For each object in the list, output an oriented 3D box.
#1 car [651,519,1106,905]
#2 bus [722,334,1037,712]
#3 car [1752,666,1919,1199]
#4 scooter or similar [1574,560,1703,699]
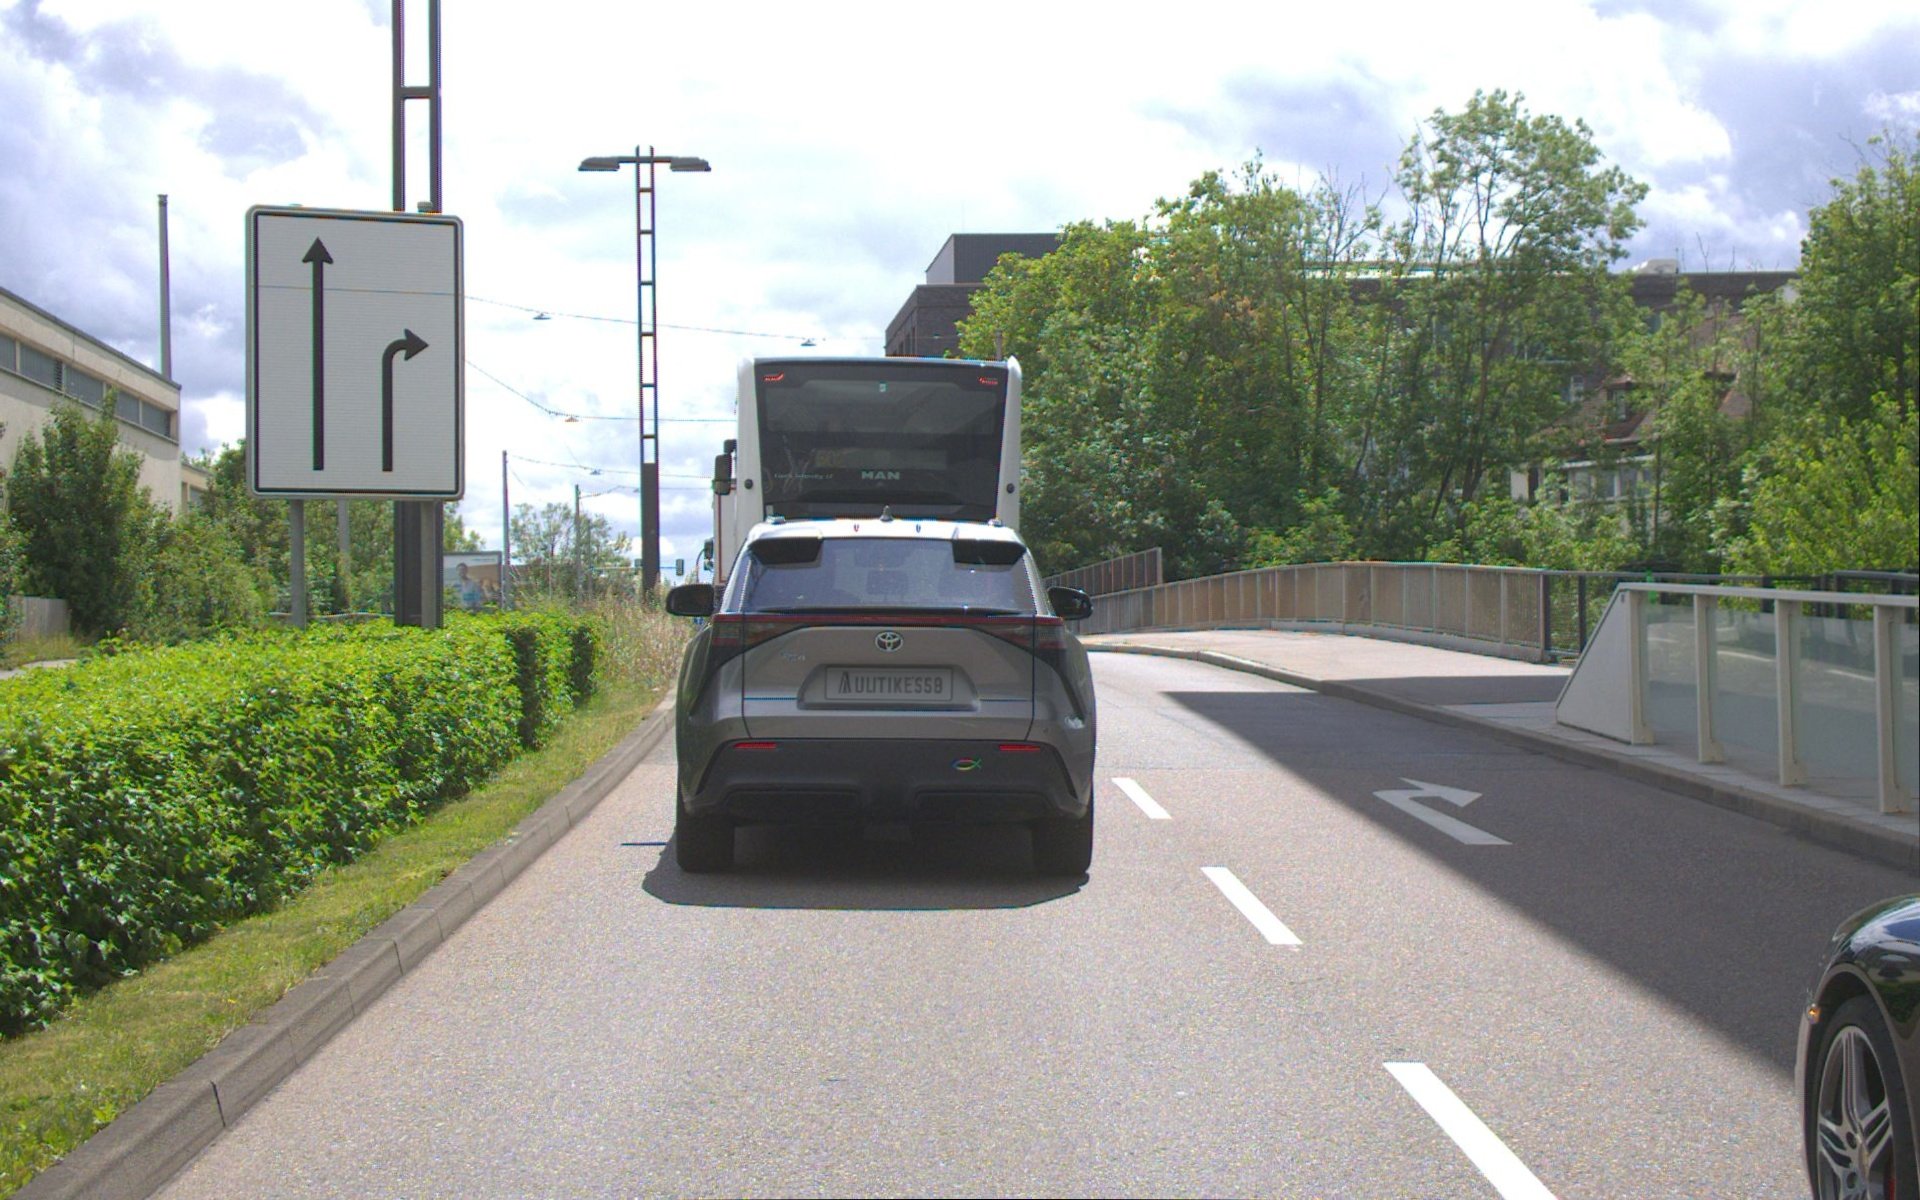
[{"bbox_3d":[-0.398,0.448,16.432,1.879,1.588,4.230,1,1,-2],"label":"car"},{"bbox_3d":[-0.815,-0.850,35.903,2.689,3.244,12.059,1,2,-1],"label":"bus"},{"bbox_3d":[2.532,0.799,5.104,1.720,1.271,4.088,0,1,-1],"label":"car"},{"bbox_3d":[6.132,0.251,31.156,0.653,1.210,1.858,-2,1,-4],"label":"scooter or similar"}]
